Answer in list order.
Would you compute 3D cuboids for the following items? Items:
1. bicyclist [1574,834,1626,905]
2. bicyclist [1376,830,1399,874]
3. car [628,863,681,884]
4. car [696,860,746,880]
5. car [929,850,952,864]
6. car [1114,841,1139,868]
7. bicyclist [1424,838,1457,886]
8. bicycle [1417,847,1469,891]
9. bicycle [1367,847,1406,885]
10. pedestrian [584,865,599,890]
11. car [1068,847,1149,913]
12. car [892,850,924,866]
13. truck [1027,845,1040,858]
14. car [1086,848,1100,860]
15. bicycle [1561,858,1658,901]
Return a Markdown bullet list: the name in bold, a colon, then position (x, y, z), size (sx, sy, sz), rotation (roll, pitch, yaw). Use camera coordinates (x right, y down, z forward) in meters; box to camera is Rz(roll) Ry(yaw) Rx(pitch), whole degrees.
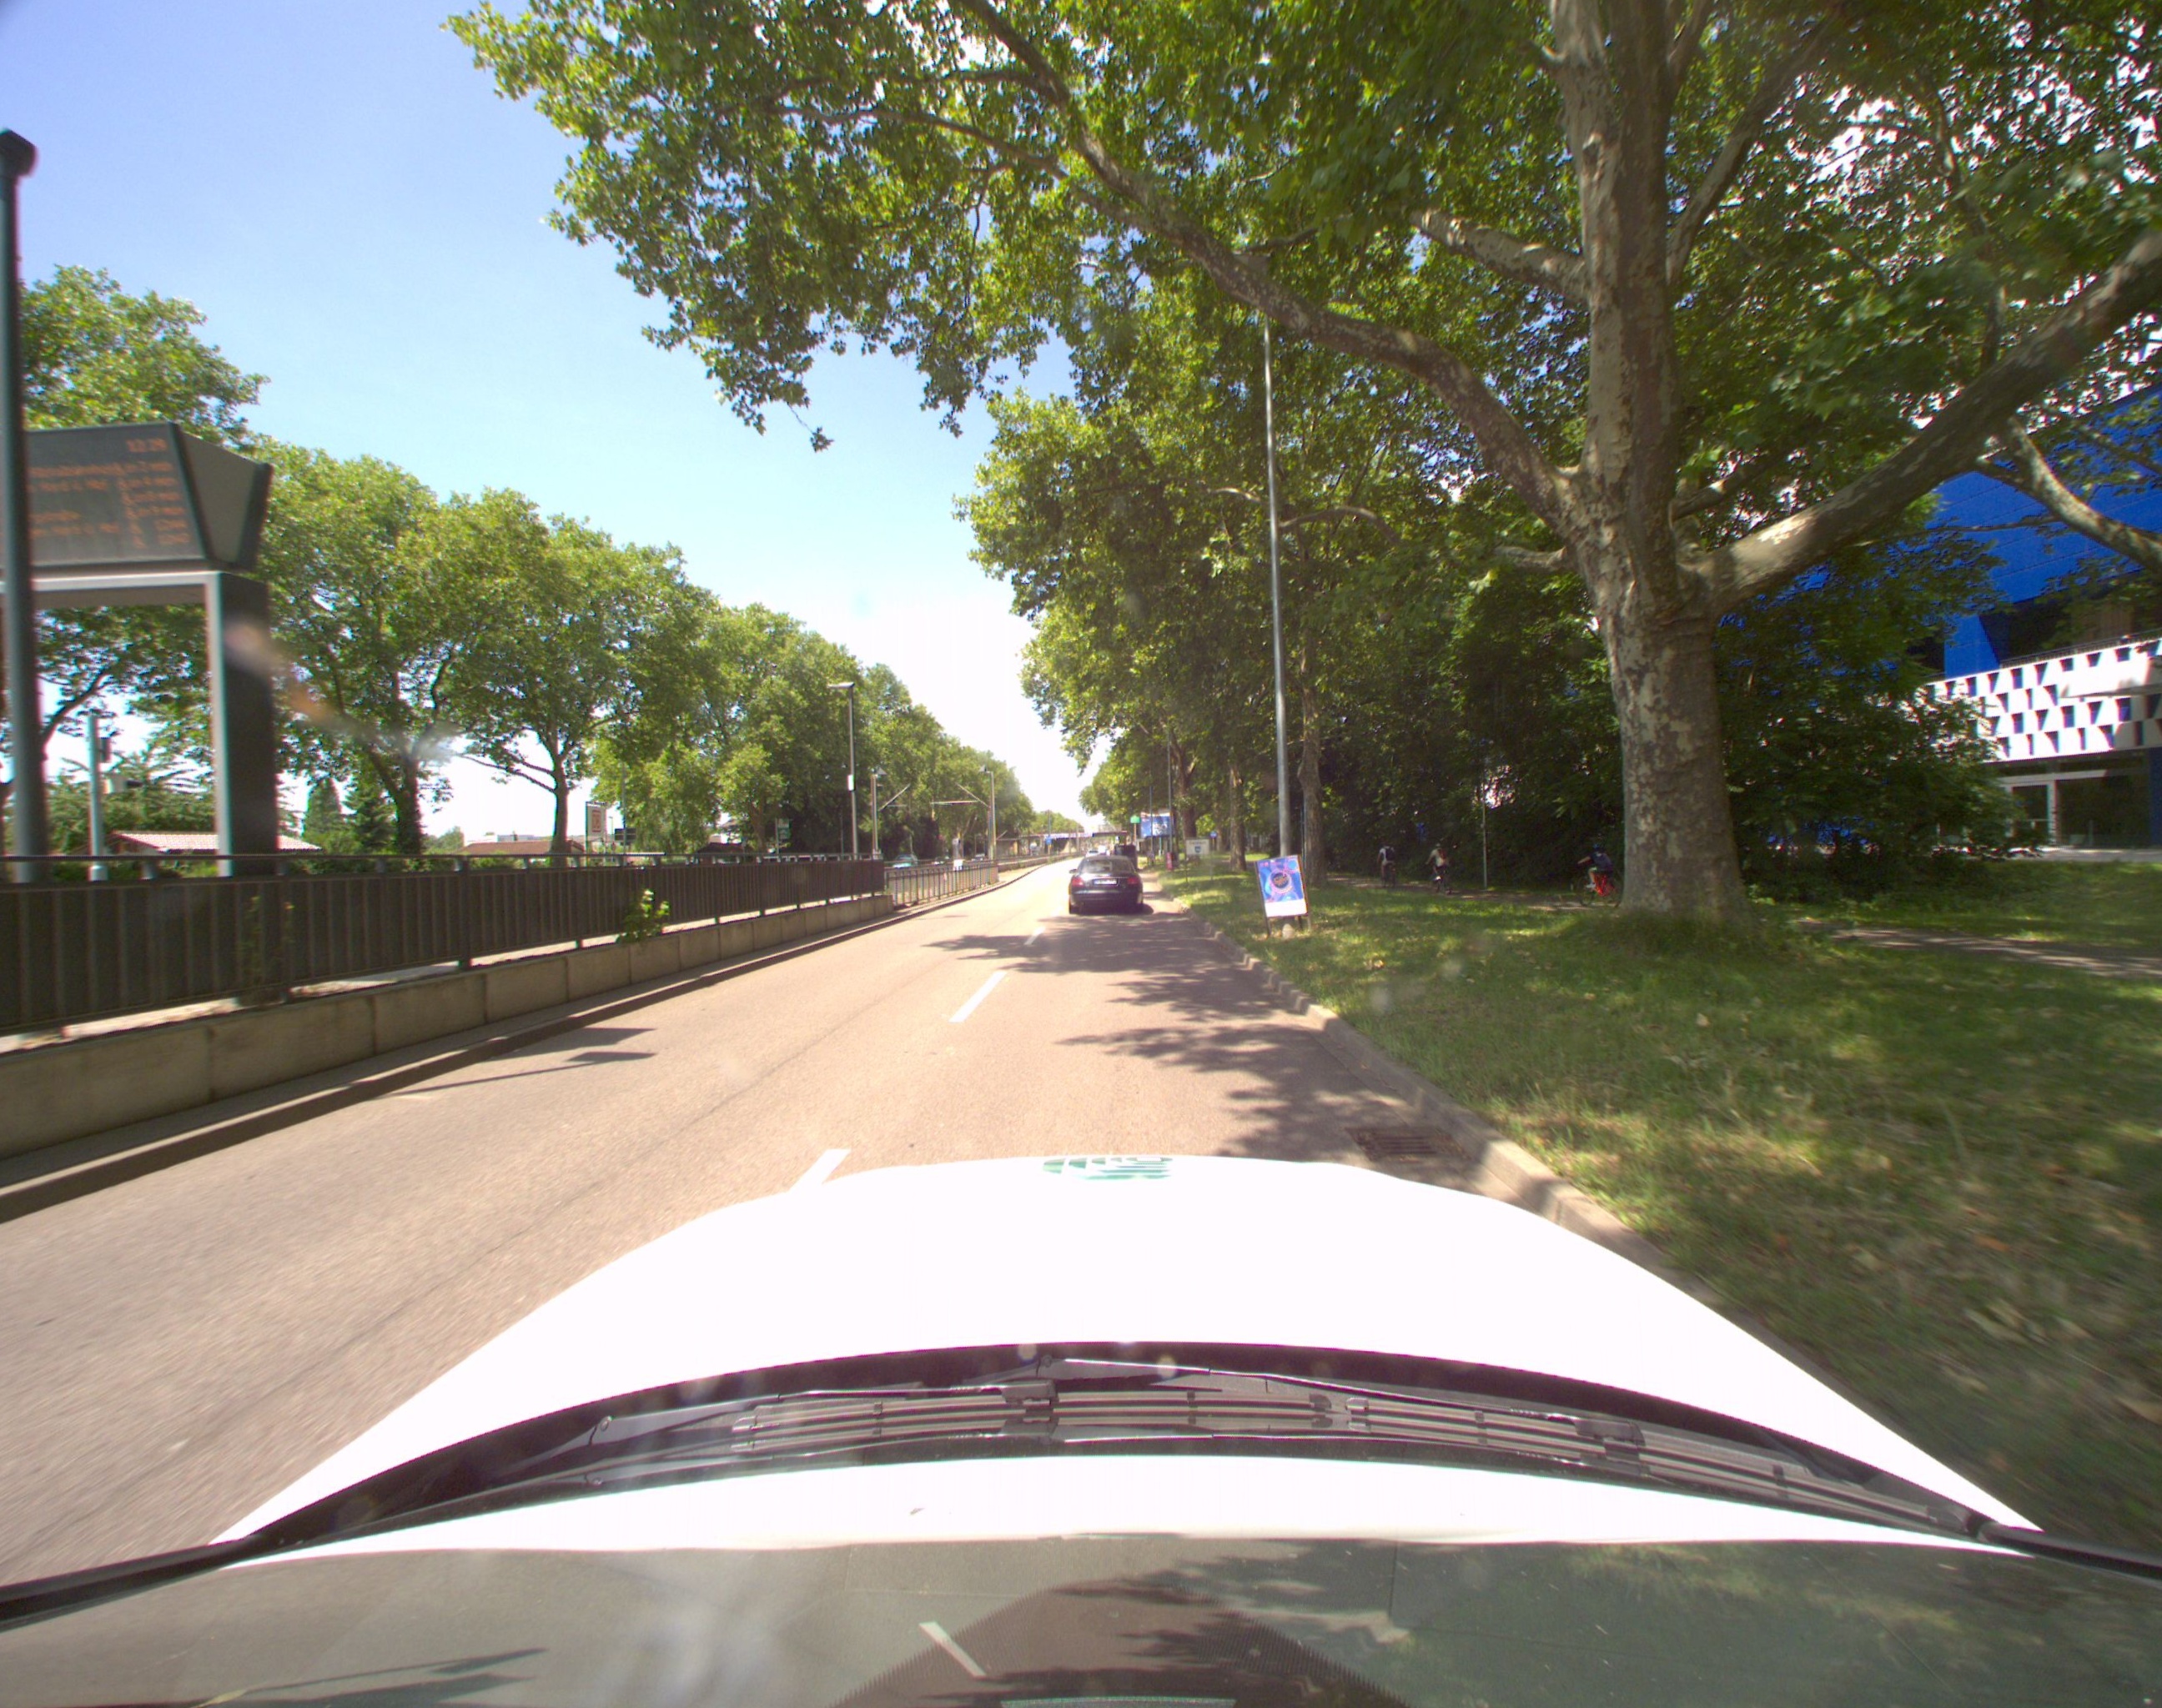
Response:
- **bicyclist**: position (12.143, 0.345, 19.064), size (0.623, 1.610, 0.813), rotation (-1, 1, -12)
- **bicyclist**: position (12.283, -0.083, 32.675), size (0.595, 1.746, 0.843), rotation (-1, 0, 2)
- **car**: position (-33.643, 1.510, 64.278), size (3.316, 1.475, 1.649), rotation (-1, 0, -10)
- **car**: position (-28.851, 1.306, 65.350), size (3.316, 1.475, 1.649), rotation (-1, 0, -10)
- **car**: position (-17.697, 0.388, 102.685), size (1.736, 1.684, 4.389), rotation (-2, 0, 4)
- **car**: position (3.584, 0.032, 63.019), size (1.840, 1.959, 4.149), rotation (0, 0, 4)
- **bicyclist**: position (12.197, 0.265, 27.677), size (0.656, 1.599, 1.054), rotation (-1, 0, 2)
- **bicycle**: position (12.256, 0.478, 27.661), size (0.608, 1.420, 2.663), rotation (-2, 0, 2)
- **bicycle**: position (12.273, 0.450, 32.833), size (0.608, 1.420, 2.663), rotation (-2, 0, 2)
- **pedestrian**: position (-28.852, 1.358, 48.007), size (0.556, 1.452, 0.643), rotation (-1, 0, -12)
- **car**: position (0.655, 0.590, 20.813), size (1.836, 1.484, 4.000), rotation (-2, 0, 0)
- **car**: position (-14.919, 0.348, 70.534), size (1.638, 1.265, 3.841), rotation (-2, 0, 4)
- **truck**: position (-11.413, -0.700, 196.563), size (2.982, 3.020, 7.994), rotation (-1, 0, -2)
- **car**: position (1.536, -0.038, 106.359), size (1.839, 1.464, 4.000), rotation (-1, 0, 0)
- **bicycle**: position (12.165, 0.564, 18.839), size (0.646, 0.887, 2.015), rotation (-1, 0, -12)
